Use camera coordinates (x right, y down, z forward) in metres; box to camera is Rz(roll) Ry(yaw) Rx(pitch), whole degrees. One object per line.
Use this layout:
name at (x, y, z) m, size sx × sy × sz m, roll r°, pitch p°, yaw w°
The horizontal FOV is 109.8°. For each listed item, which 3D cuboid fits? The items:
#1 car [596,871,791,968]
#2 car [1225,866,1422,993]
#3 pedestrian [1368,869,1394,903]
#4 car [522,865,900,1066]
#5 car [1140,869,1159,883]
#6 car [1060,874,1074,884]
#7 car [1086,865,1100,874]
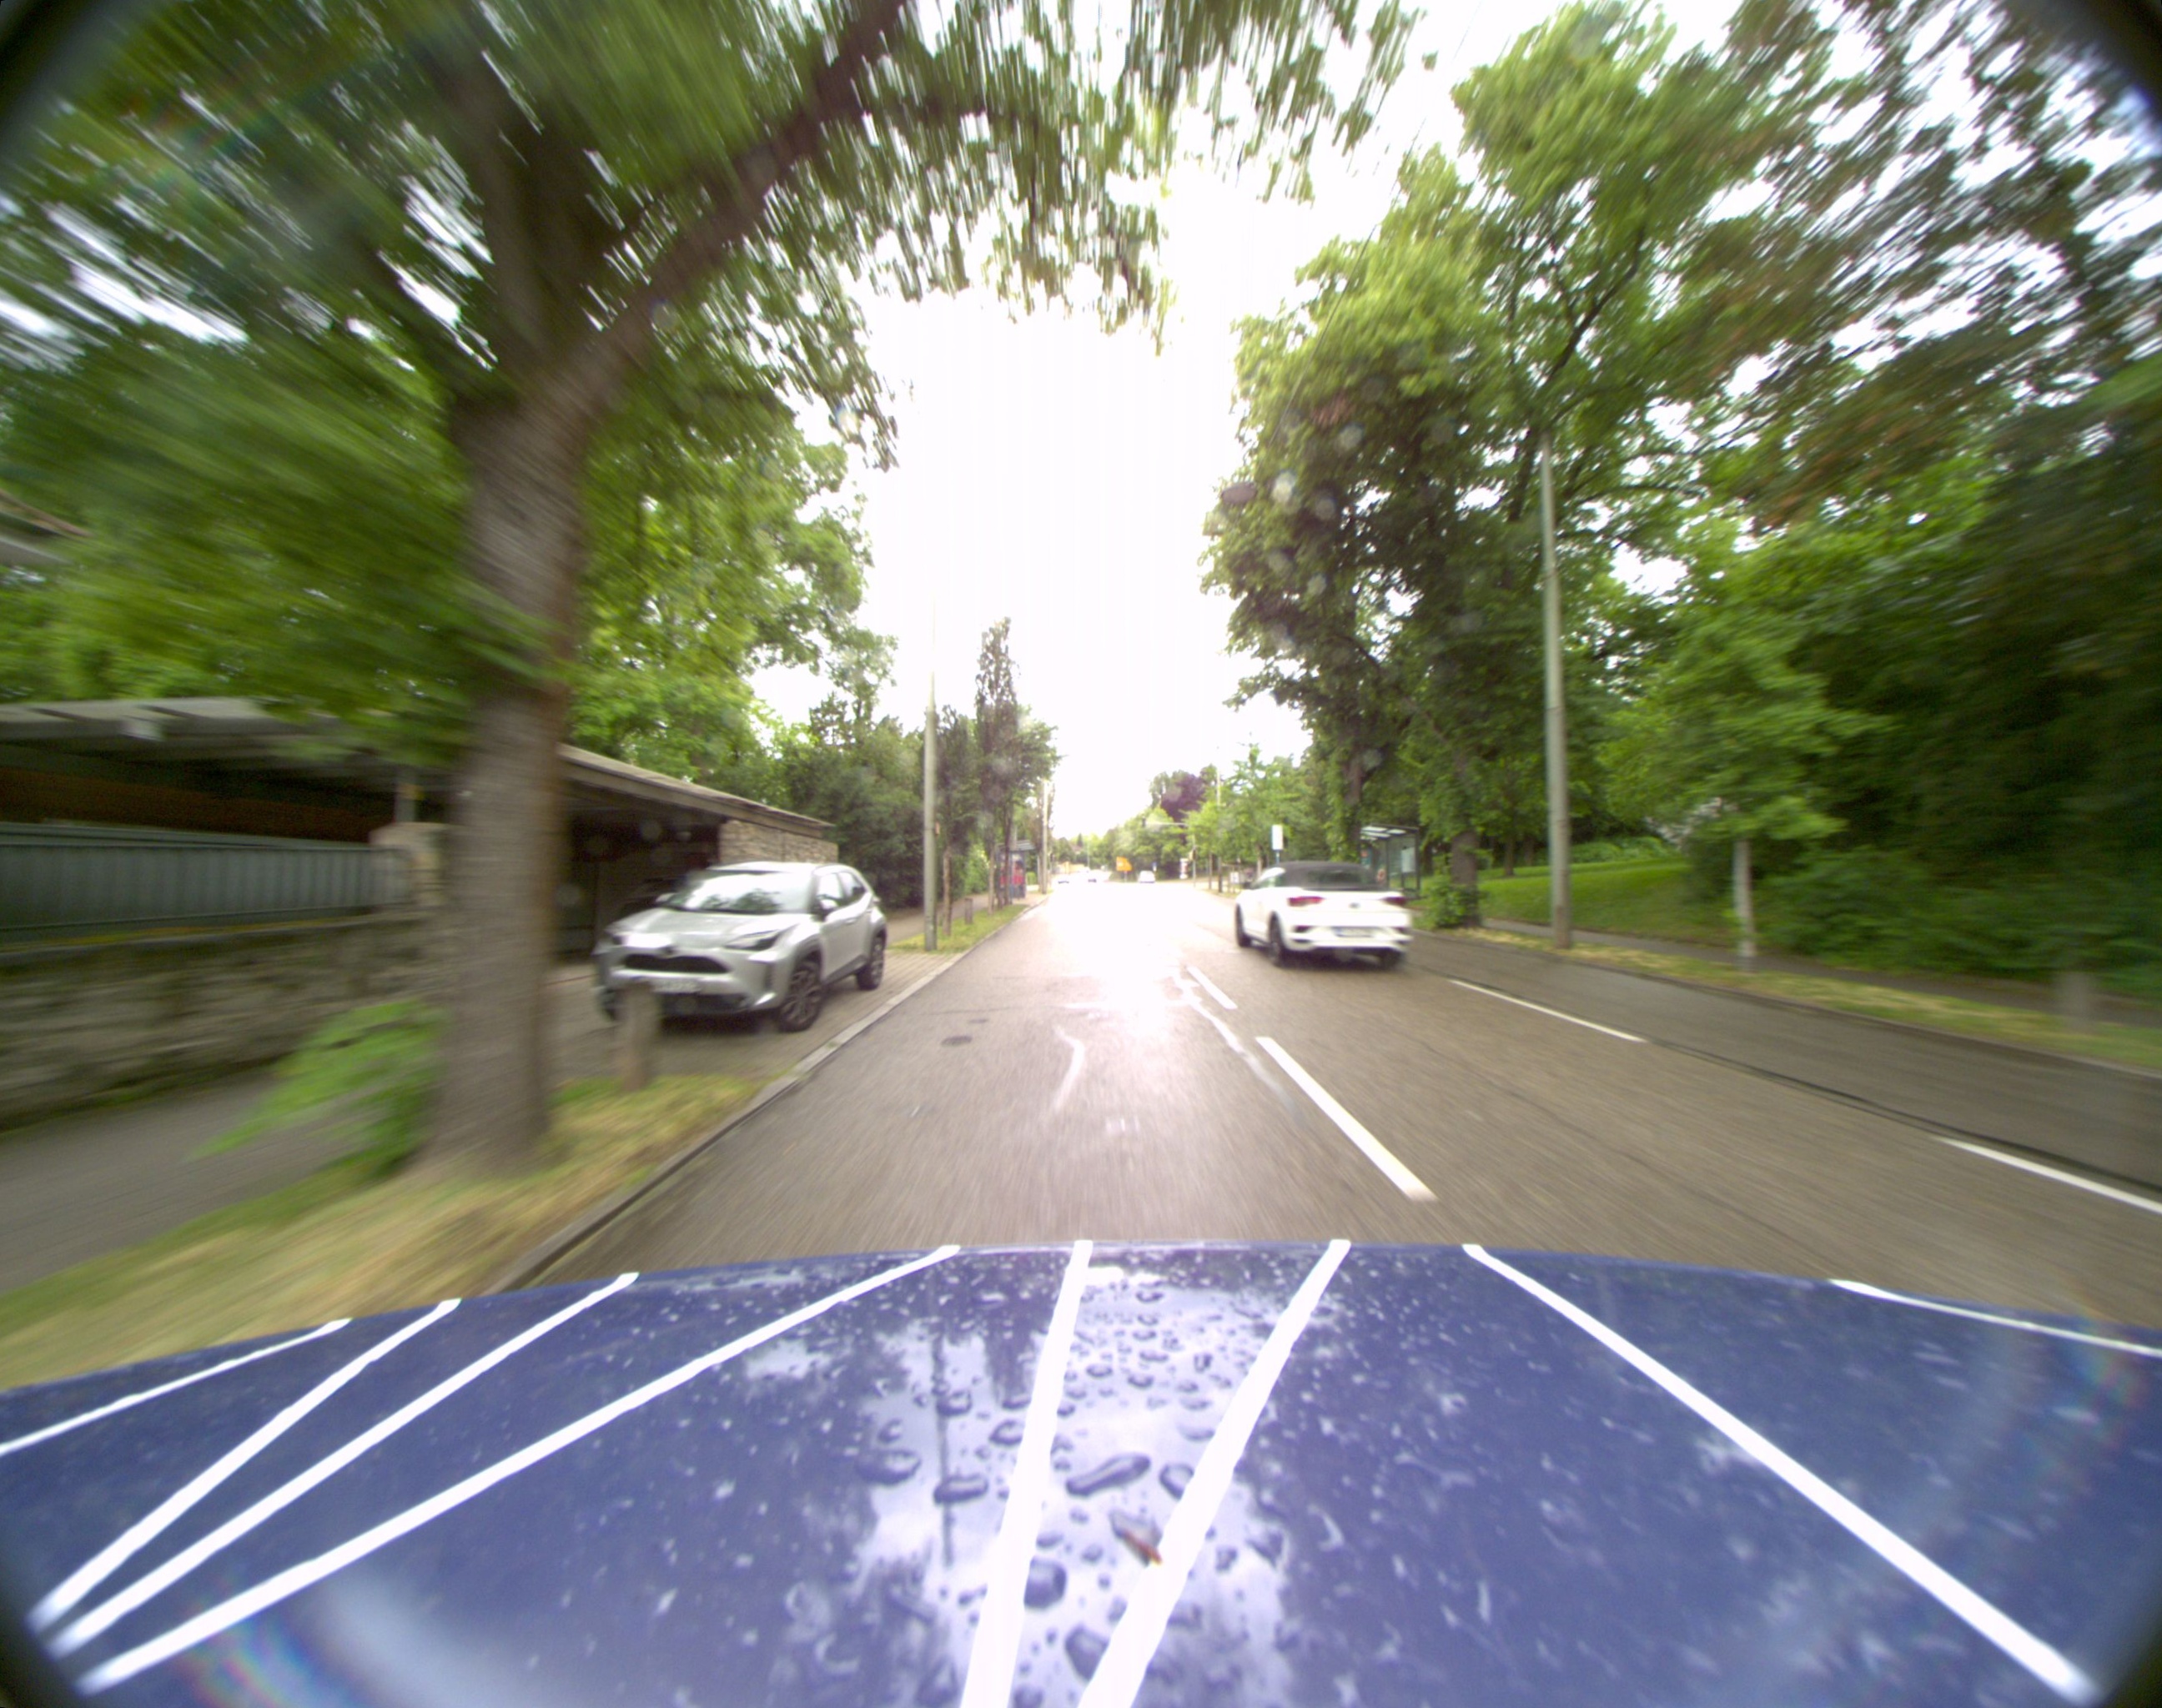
car at (-7.415, 1.185, 15.063) m, size 1.601 × 1.521 × 4.155 m, roll -5°, pitch -2°, yaw 1°
car at (3.520, 1.008, 11.874) m, size 1.798 × 1.501 × 4.093 m, roll -1°, pitch 1°, yaw 1°
pedestrian at (11.931, 1.254, 30.212) m, size 0.777 × 1.293 × 0.745 m, roll -2°, pitch 0°, yaw 8°
car at (-3.452, 0.942, 8.176) m, size 1.923 × 1.558 × 4.221 m, roll 1°, pitch -1°, yaw 1°
car at (7.791, 2.514, 86.594) m, size 1.876 × 1.540 × 4.001 m, roll 1°, pitch -1°, yaw 1°
car at (-2.370, 4.315, 131.457) m, size 1.998 × 1.674 × 4.001 m, roll -4°, pitch -1°, yaw 3°
car at (2.369, 3.054, 151.173) m, size 1.878 × 1.540 × 3.996 m, roll 1°, pitch 0°, yaw -10°
